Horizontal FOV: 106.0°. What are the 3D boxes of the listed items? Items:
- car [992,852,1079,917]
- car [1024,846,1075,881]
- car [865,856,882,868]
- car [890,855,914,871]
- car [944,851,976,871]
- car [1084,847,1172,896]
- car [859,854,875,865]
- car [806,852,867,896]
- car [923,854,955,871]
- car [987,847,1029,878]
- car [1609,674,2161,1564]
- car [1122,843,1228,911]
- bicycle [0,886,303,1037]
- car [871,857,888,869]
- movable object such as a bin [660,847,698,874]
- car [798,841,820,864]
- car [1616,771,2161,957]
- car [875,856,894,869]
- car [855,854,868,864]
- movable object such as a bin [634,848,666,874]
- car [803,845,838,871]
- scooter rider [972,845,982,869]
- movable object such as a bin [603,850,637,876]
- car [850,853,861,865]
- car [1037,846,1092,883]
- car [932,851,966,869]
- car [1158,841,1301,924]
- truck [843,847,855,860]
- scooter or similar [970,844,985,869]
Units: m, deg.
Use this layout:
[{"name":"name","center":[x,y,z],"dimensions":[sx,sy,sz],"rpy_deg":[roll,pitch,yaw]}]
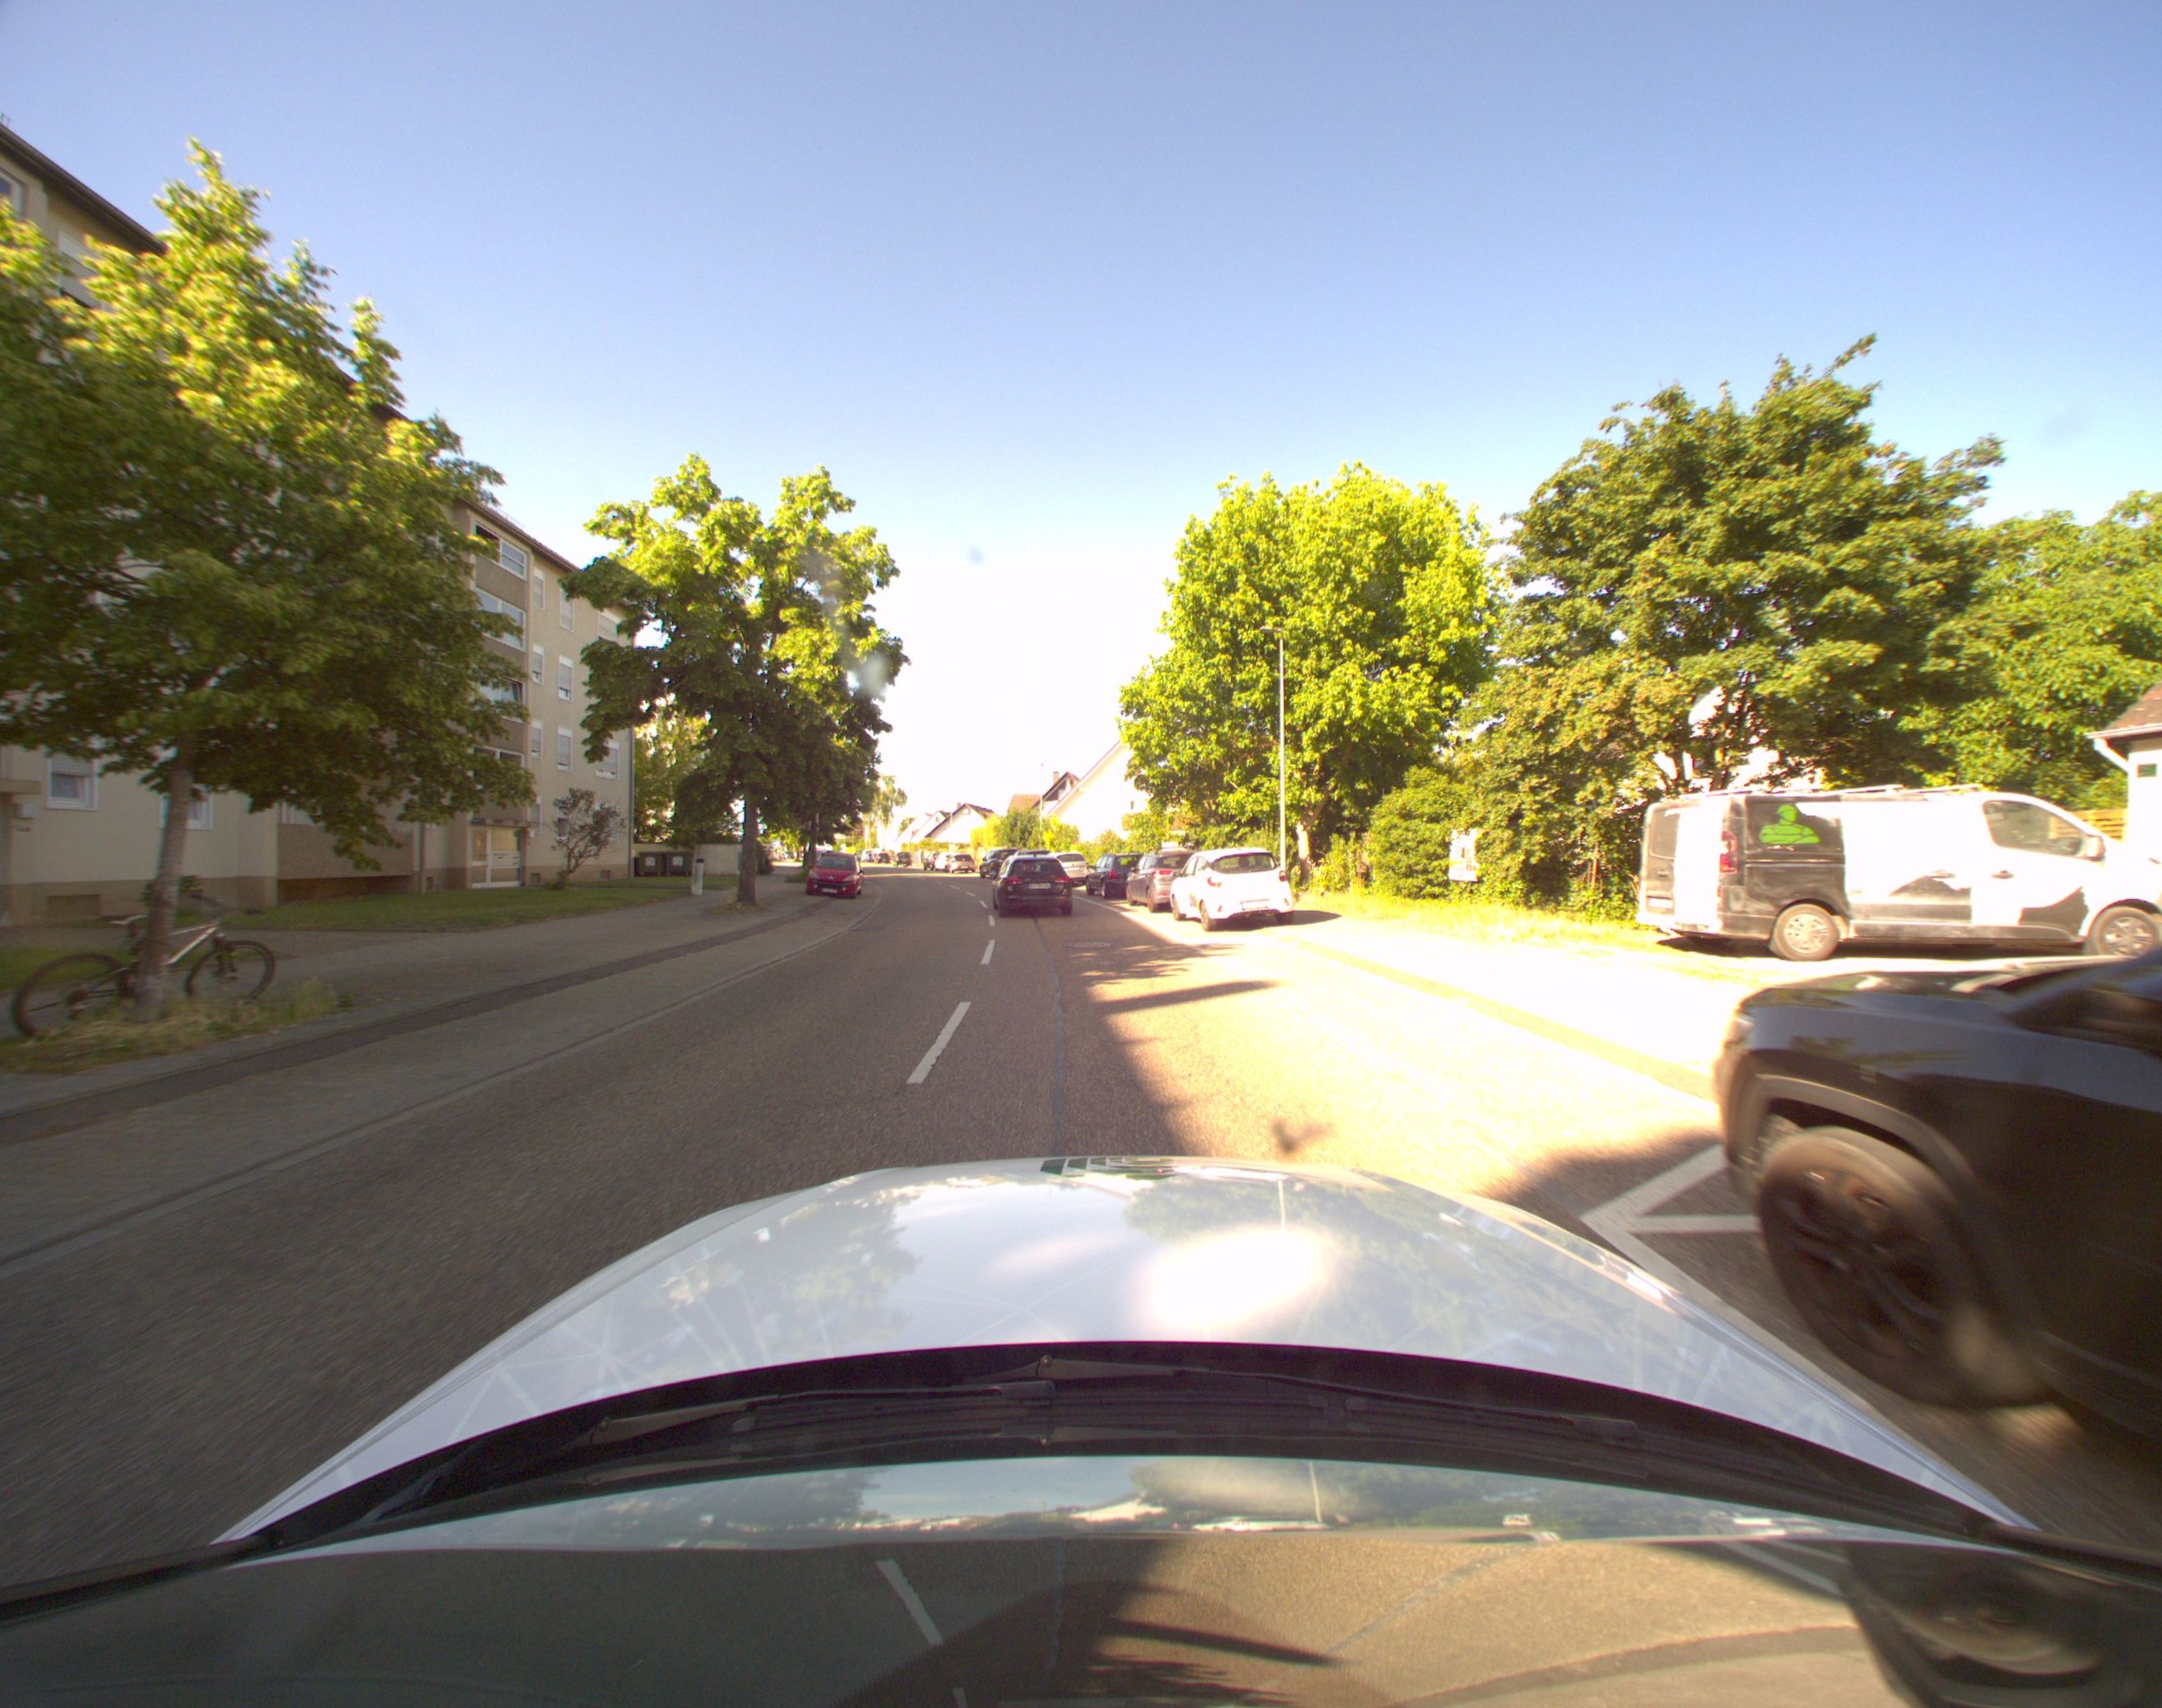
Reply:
[{"name":"car","center":[-1.267,0.725,20.917],"dimensions":[1.761,1.491,4.277],"rpy_deg":[1,-1,-9]},{"name":"car","center":[-1.682,0.476,41.684],"dimensions":[2.006,1.724,4.278],"rpy_deg":[0,-1,-10]},{"name":"car","center":[-31.100,1.189,121.970],"dimensions":[2.012,1.724,4.265],"rpy_deg":[0,-1,-20]},{"name":"car","center":[-19.853,0.946,90.252],"dimensions":[2.012,1.724,4.265],"rpy_deg":[0,-1,-20]},{"name":"car","center":[-8.897,0.536,59.587],"dimensions":[1.919,1.407,4.272],"rpy_deg":[0,-1,-15]},{"name":"car","center":[1.433,0.560,26.875],"dimensions":[2.006,1.475,4.279],"rpy_deg":[0,-1,-10]},{"name":"car","center":[-33.385,0.909,127.062],"dimensions":[2.012,1.724,4.265],"rpy_deg":[0,-1,-20]},{"name":"car","center":[-8.871,0.694,29.830],"dimensions":[1.689,1.491,4.274],"rpy_deg":[1,-1,-11]},{"name":"car","center":[-12.283,0.729,70.126],"dimensions":[1.923,1.407,4.263],"rpy_deg":[0,-1,-21]},{"name":"car","center":[-4.282,0.495,47.173],"dimensions":[1.904,1.666,4.173],"rpy_deg":[0,-1,-12]},{"name":"car","center":[2.962,0.504,1.131],"dimensions":[1.771,1.724,4.296],"rpy_deg":[0,-1,2]},{"name":"car","center":[2.353,0.546,21.603],"dimensions":[1.909,1.600,4.285],"rpy_deg":[0,0,-6]},{"name":"bicycle","center":[-7.452,0.783,6.582],"dimensions":[0.365,0.969,1.888],"rpy_deg":[-1,0,6]},{"name":"car","center":[-28.344,1.269,114.488],"dimensions":[2.012,1.724,4.265],"rpy_deg":[0,-1,-20]},{"name":"movable object such as a bin","center":[-21.041,0.351,42.653],"dimensions":[1.518,1.427,1.084],"rpy_deg":[0,-2,-10]},{"name":"car","center":[-29.669,-0.185,88.928],"dimensions":[1.909,2.170,4.268],"rpy_deg":[7,-2,-16]},{"name":"car","center":[9.586,0.135,9.940],"dimensions":[4.657,1.984,2.146],"rpy_deg":[0,-1,6]},{"name":"car","center":[-26.317,1.126,108.778],"dimensions":[2.012,1.724,4.265],"rpy_deg":[0,-1,-20]},{"name":"car","center":[-40.055,0.973,148.651],"dimensions":[2.012,1.724,4.265],"rpy_deg":[0,-1,-20]},{"name":"movable object such as a bin","center":[-22.425,0.360,42.392],"dimensions":[1.172,1.321,1.084],"rpy_deg":[0,-2,-10]},{"name":"car","center":[-19.399,0.311,60.800],"dimensions":[1.835,1.630,4.274],"rpy_deg":[7,-2,-11]},{"name":"scooter rider","center":[-8.792,0.234,69.142],"dimensions":[0.688,2.014,0.814],"rpy_deg":[1,-2,-20]},{"name":"movable object such as a bin","center":[-23.822,0.453,42.090],"dimensions":[1.172,1.321,1.084],"rpy_deg":[0,-2,-10]},{"name":"car","center":[-42.443,0.987,153.446],"dimensions":[1.754,2.014,3.925],"rpy_deg":[0,-2,-19]},{"name":"car","center":[-0.802,0.442,36.229],"dimensions":[1.820,1.534,4.243],"rpy_deg":[0,-1,-10]},{"name":"car","center":[-10.696,0.459,65.677],"dimensions":[1.923,1.407,4.263],"rpy_deg":[0,-1,-21]},{"name":"car","center":[2.911,0.538,16.964],"dimensions":[1.759,1.480,4.284],"rpy_deg":[0,-1,-7]},{"name":"truck","center":[-48.330,-0.089,169.518],"dimensions":[2.212,2.600,5.109],"rpy_deg":[0,-2,-19]},{"name":"scooter or similar","center":[-8.784,0.251,69.160],"dimensions":[0.687,2.014,2.943],"rpy_deg":[0,-2,-18]}]
